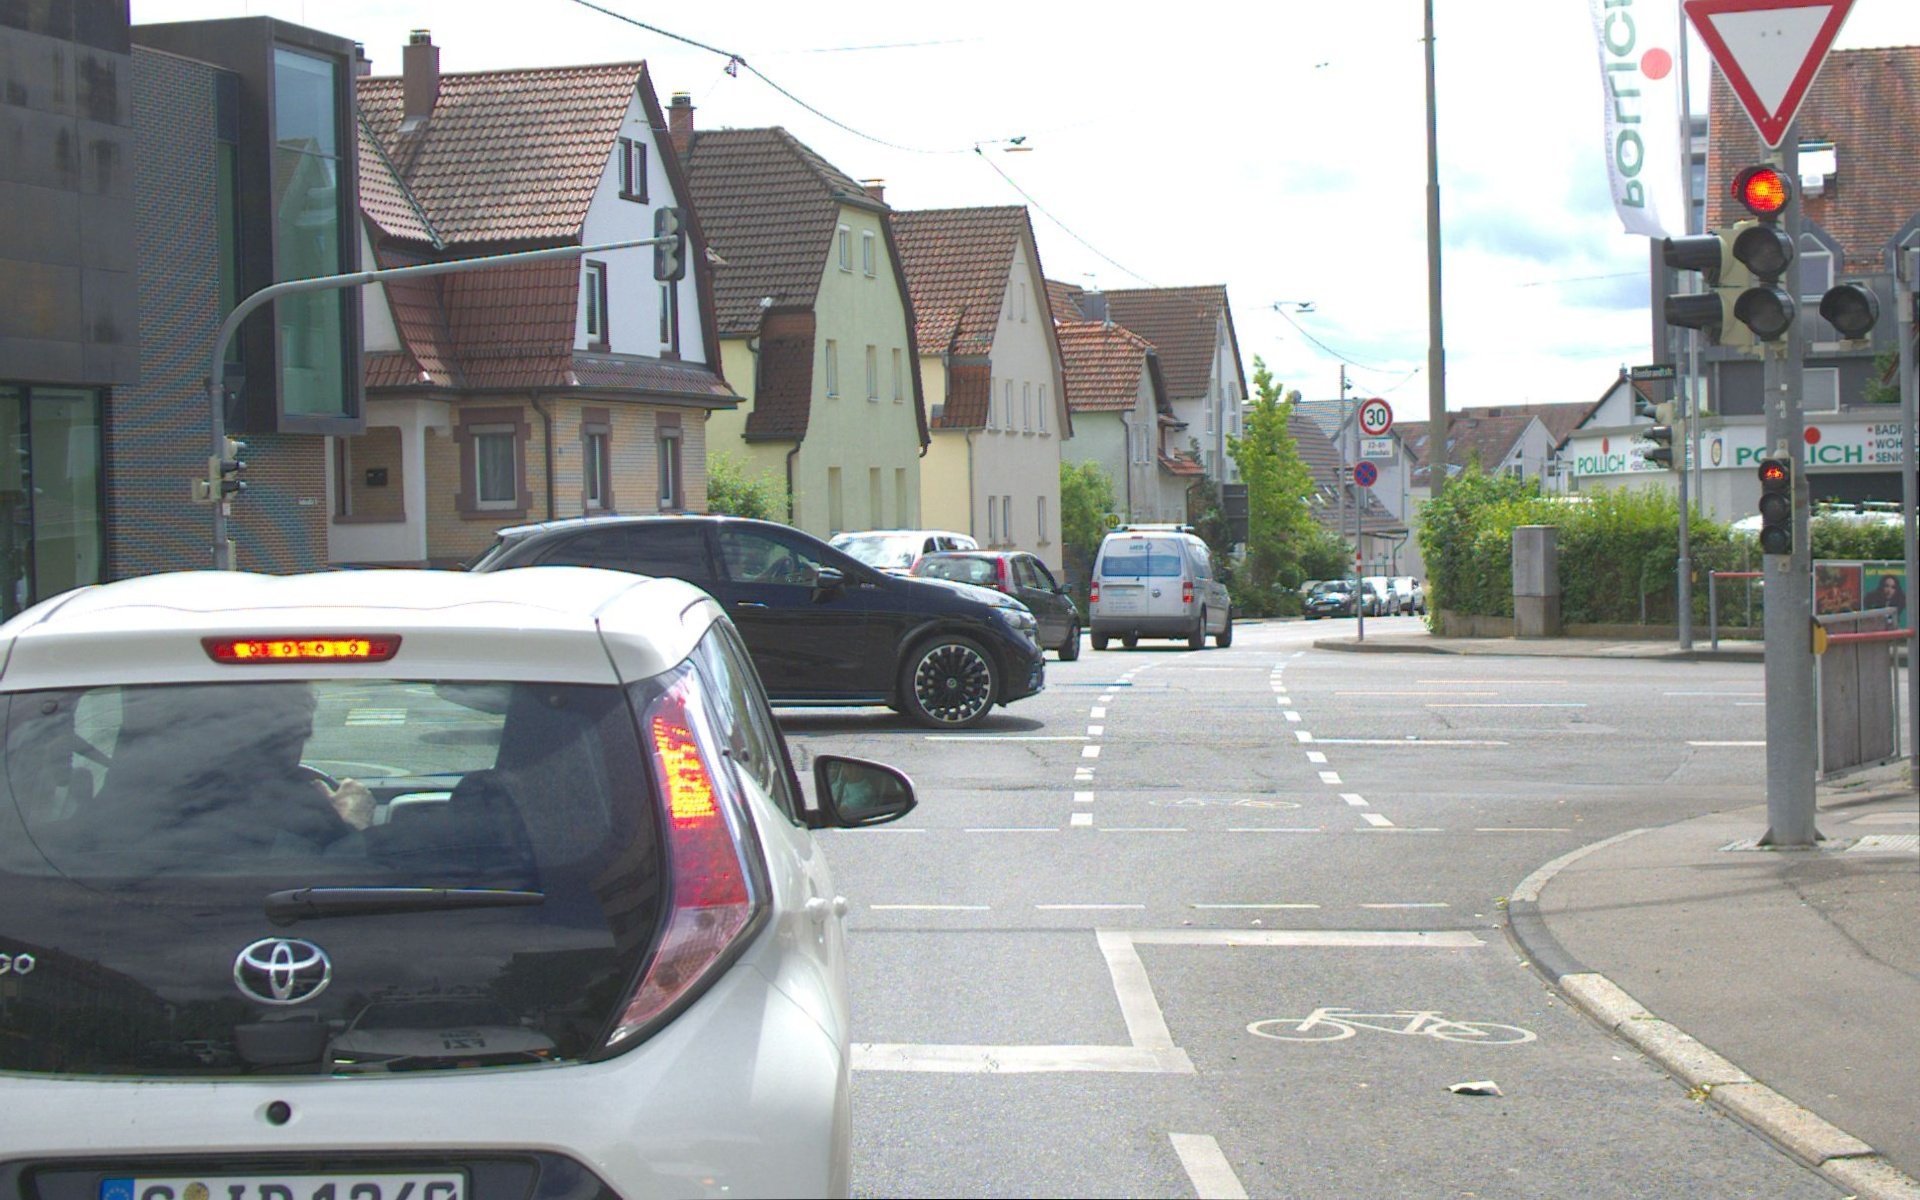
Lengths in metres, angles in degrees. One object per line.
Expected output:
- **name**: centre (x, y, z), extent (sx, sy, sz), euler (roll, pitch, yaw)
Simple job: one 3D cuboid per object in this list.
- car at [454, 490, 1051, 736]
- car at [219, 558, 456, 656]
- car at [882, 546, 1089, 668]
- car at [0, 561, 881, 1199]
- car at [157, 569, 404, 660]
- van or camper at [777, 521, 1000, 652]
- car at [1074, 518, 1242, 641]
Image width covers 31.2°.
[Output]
- **car**: centre (-1.689, 0.056, 27.127), extent (4.498, 1.737, 2.001), euler (-1, 3, -9)
- **car**: centre (-10.645, 0.103, 58.884), extent (3.616, 1.600, 1.691), euler (1, 1, 11)
- **car**: centre (0.383, 0.053, 44.478), extent (1.994, 1.481, 3.998), euler (1, 1, 10)
- **car**: centre (-1.030, 0.671, 6.243), extent (1.697, 1.451, 3.299), euler (1, 1, -2)
- **car**: centre (-11.202, 0.221, 56.762), extent (3.616, 1.414, 1.691), euler (1, 1, 11)
- **van or camper**: centre (-1.047, -0.241, 53.955), extent (2.117, 1.919, 5.282), euler (1, 1, 15)
- **car**: centre (3.159, -0.339, 54.172), extent (1.995, 1.842, 4.071), euler (1, 1, 13)
